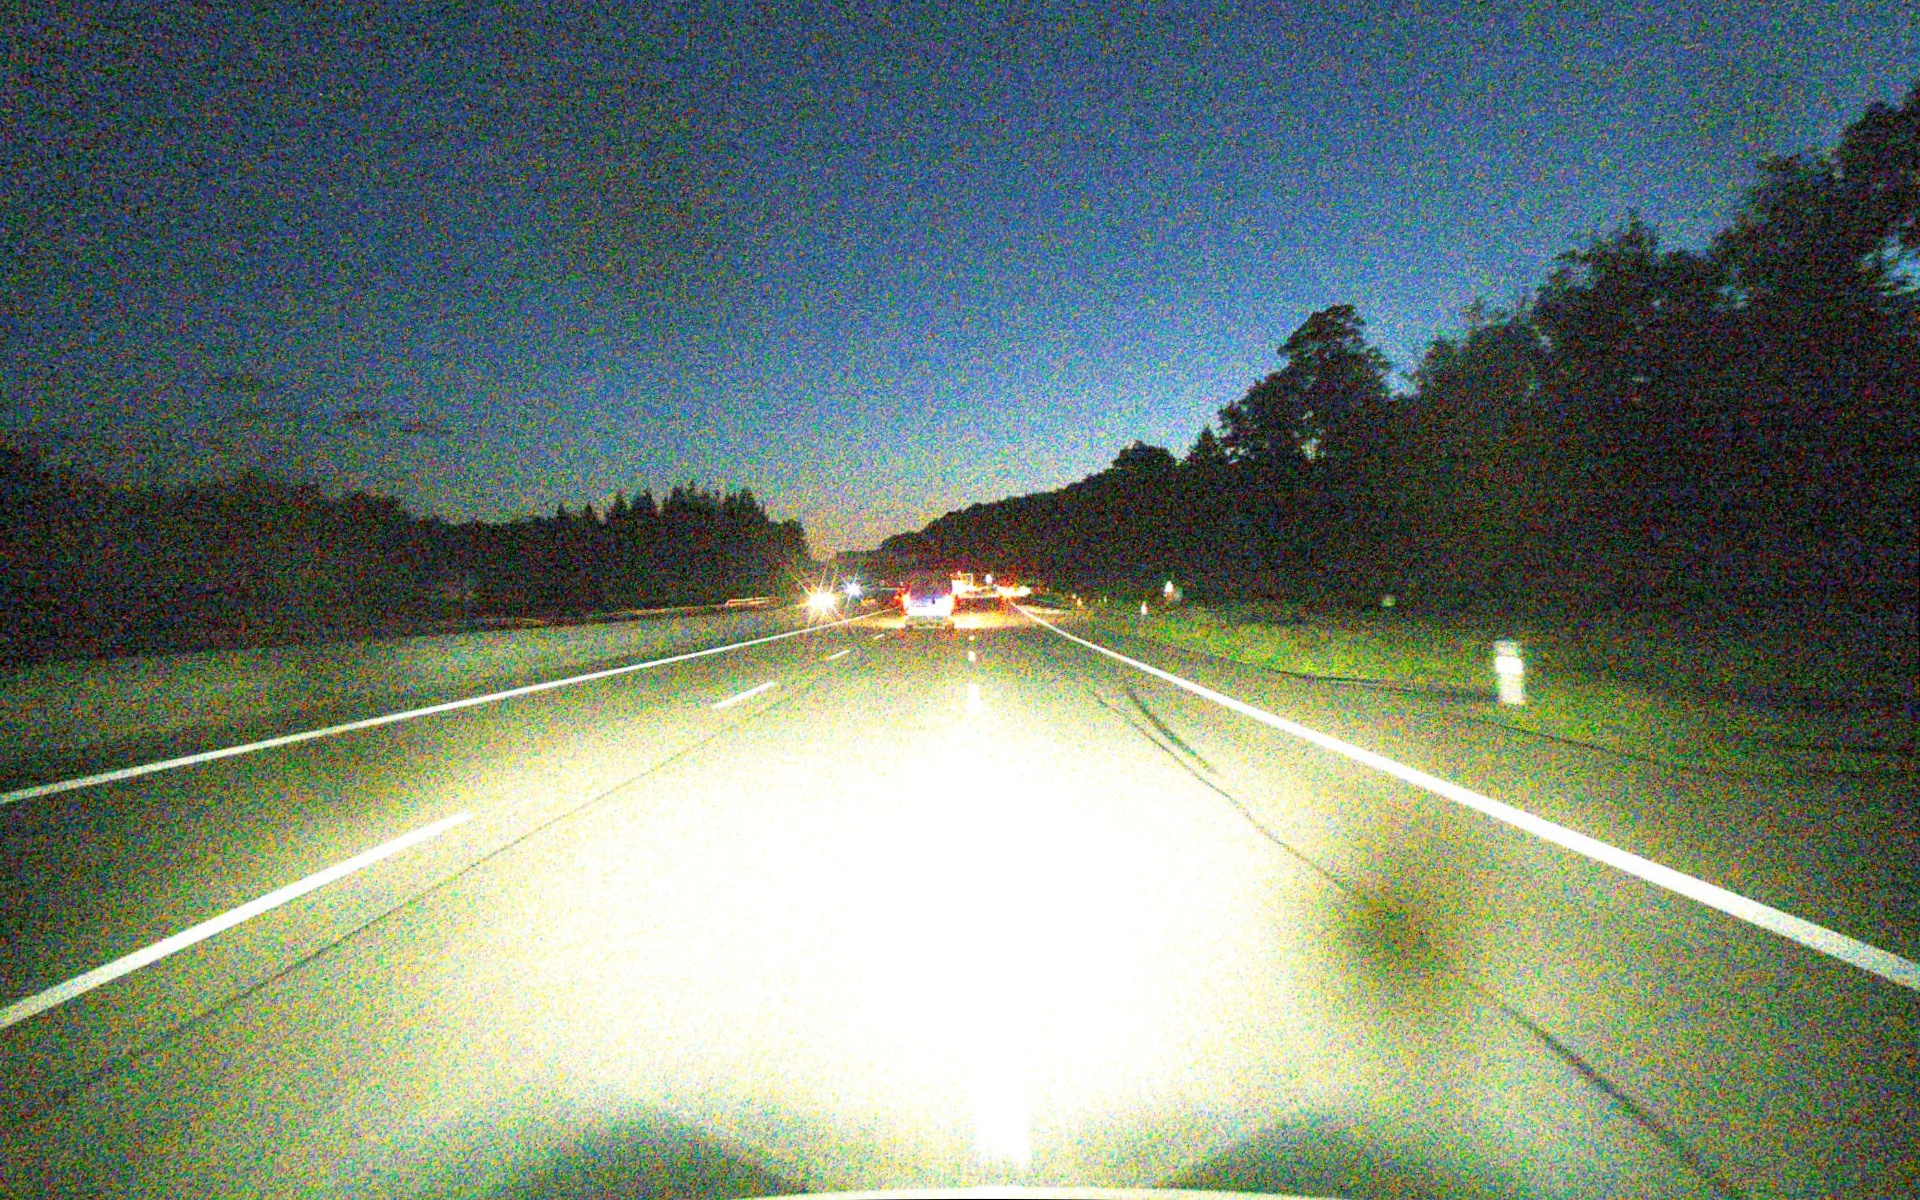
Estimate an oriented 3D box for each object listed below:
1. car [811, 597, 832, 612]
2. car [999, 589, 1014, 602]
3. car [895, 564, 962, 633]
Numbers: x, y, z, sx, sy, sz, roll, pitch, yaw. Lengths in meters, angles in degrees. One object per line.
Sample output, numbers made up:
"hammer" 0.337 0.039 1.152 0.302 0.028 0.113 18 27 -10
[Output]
"car" -15.632 0.526 186.800 1.893 1.632 4.953 -1 0 0
"car" 6.044 -0.639 216.095 1.806 1.668 4.000 -1 1 -1
"car" -1.293 -0.063 70.350 2.729 2.781 6.299 0 0 0
